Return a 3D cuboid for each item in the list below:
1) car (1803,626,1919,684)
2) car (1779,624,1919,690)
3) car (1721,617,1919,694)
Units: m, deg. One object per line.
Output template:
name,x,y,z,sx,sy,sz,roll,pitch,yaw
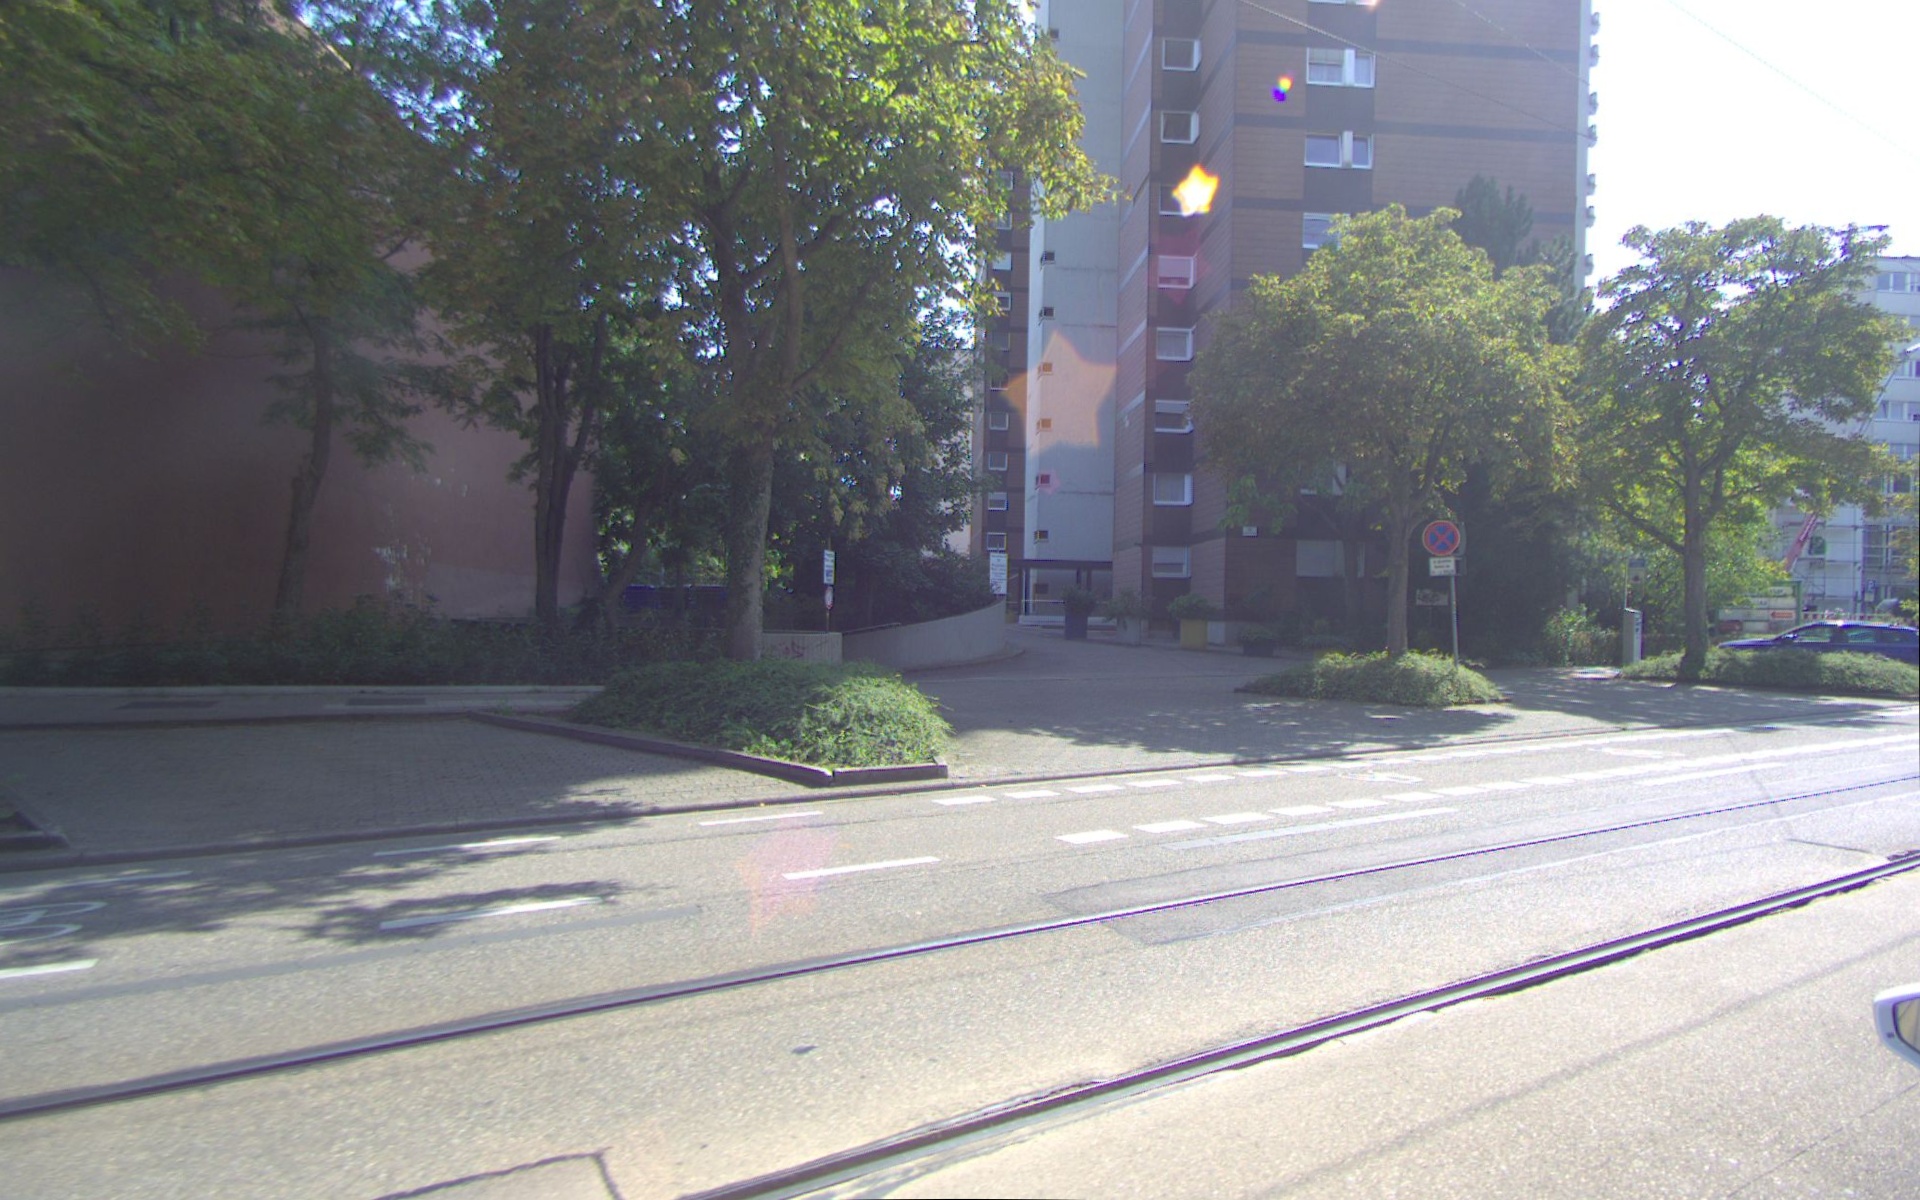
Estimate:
car,26.752,1.560,28.422,4.224,1.517,1.775,1,0,34
car,24.240,1.476,26.450,3.932,1.591,1.776,1,0,34
car,21.523,1.329,25.114,3.936,1.670,1.835,1,0,38
